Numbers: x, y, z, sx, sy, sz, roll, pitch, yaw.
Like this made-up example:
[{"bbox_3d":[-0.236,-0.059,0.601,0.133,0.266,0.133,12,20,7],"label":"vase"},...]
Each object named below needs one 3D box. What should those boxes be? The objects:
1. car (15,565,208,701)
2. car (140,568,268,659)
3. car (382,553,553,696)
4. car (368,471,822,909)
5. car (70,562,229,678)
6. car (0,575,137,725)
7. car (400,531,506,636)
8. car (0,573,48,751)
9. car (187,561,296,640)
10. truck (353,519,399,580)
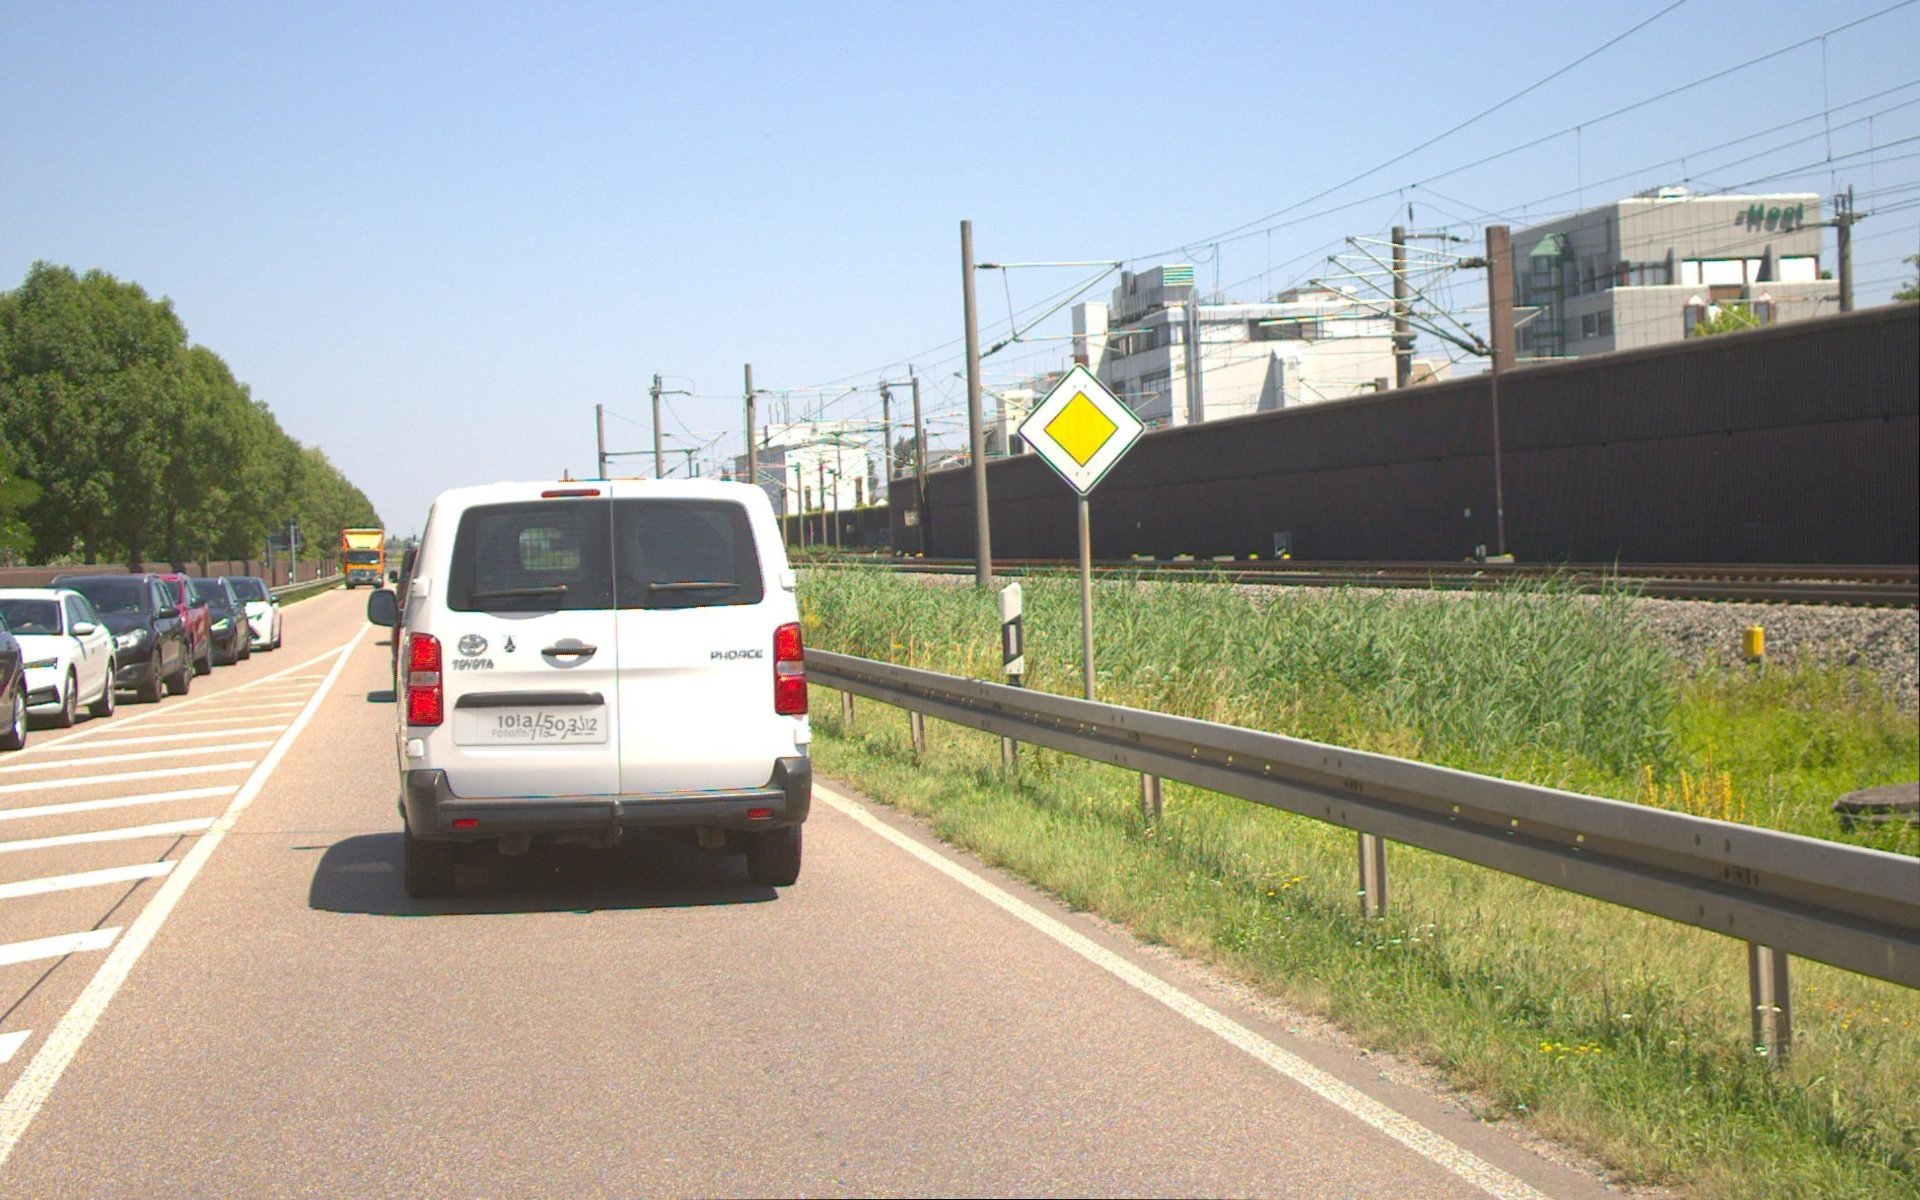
[{"bbox_3d":[-10.824,0.377,44.111,1.716,1.584,4.535,-1,1,-5],"label":"car"},{"bbox_3d":[-13.026,0.202,59.441,1.685,1.455,4.617,-1,1,-6],"label":"car"},{"bbox_3d":[-6.121,0.265,42.424,1.905,1.644,4.142,-1,1,-10],"label":"car"},{"bbox_3d":[-1.948,0.377,17.293,1.945,1.875,4.882,0,0,-9],"label":"car"},{"bbox_3d":[-12.257,0.264,52.201,1.755,1.626,4.280,-1,1,-6],"label":"car"},{"bbox_3d":[-10.153,0.509,37.357,1.653,1.473,4.631,-1,1,-5],"label":"car"},{"bbox_3d":[-10.275,-0.353,69.746,2.007,2.015,4.784,-1,1,-8],"label":"car"},{"bbox_3d":[-9.201,0.589,29.887,1.624,1.532,4.385,-3,1,-4],"label":"car"},{"bbox_3d":[-13.906,-0.017,66.733,1.685,1.455,4.617,-1,1,-7],"label":"car"},{"bbox_3d":[-38.571,-3.321,227.329,2.791,3.827,9.326,-2,1,-9],"label":"truck"}]
